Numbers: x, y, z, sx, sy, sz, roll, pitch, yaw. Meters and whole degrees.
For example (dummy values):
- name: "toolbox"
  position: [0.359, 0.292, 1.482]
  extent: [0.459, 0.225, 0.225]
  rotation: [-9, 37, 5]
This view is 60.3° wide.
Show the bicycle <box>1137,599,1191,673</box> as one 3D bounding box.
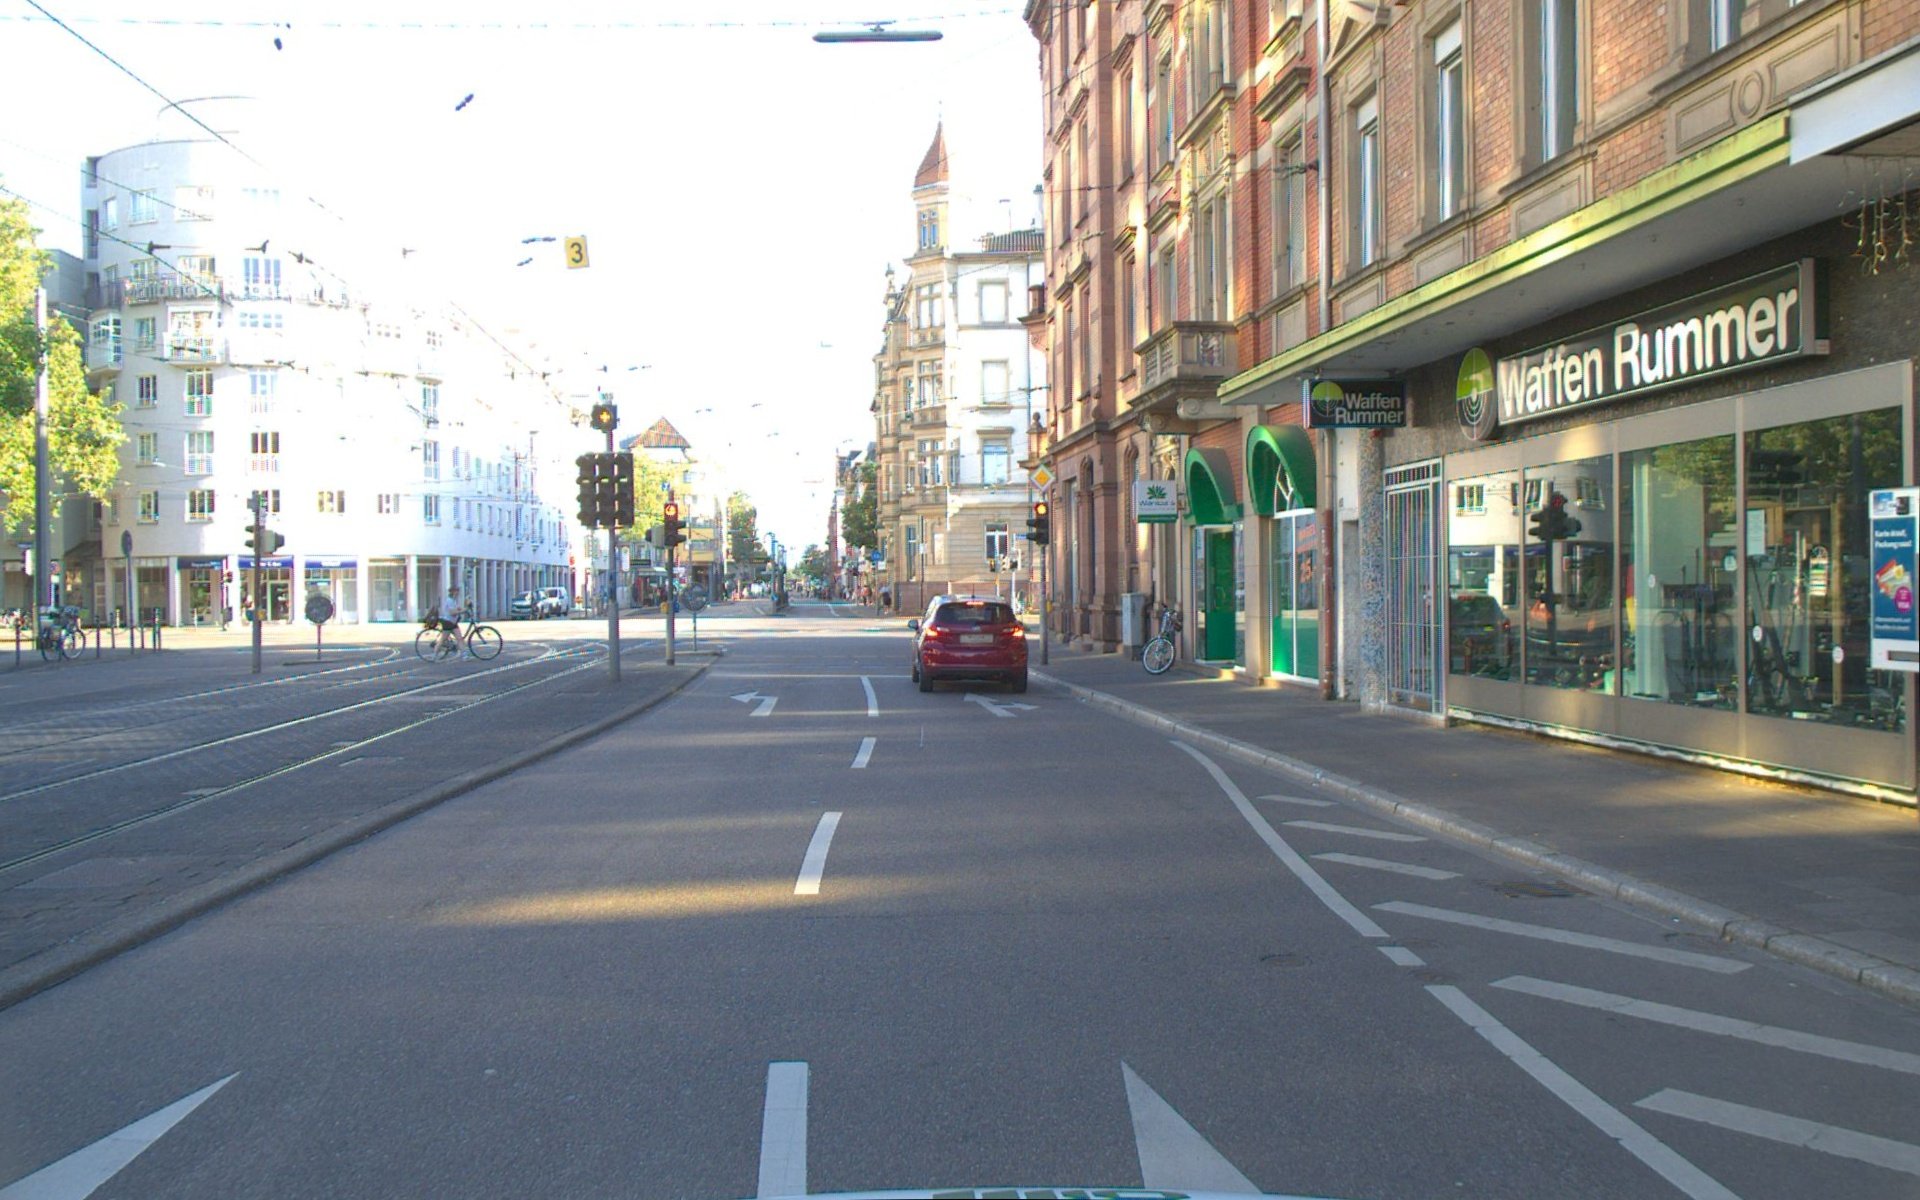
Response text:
- name: "bicycle"
  position: [3.472, 0.596, 28.083]
  extent: [0.700, 1.172, 1.656]
  rotation: [-2, 1, 13]

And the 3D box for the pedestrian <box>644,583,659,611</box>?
- name: "pedestrian"
  position: [-23.137, -0.232, 124.218]
  extent: [1.025, 2.049, 0.957]
  rotation: [-1, 0, -8]

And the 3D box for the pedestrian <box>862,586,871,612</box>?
- name: "pedestrian"
  position: [-7.319, -0.069, 129.050]
  extent: [0.633, 2.049, 0.682]
  rotation: [-1, 0, -5]

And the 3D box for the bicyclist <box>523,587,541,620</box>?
- name: "bicyclist"
  position: [-23.237, 0.175, 89.785]
  extent: [0.792, 1.756, 0.793]
  rotation: [-1, 0, -5]

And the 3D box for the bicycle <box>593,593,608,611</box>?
- name: "bicycle"
  position: [-24.827, 0.130, 114.212]
  extent: [0.792, 1.167, 2.008]
  rotation: [-1, 0, -5]

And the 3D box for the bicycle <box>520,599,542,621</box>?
- name: "bicycle"
  position: [-23.213, 0.536, 89.573]
  extent: [0.792, 1.167, 2.047]
  rotation: [-1, 0, -5]

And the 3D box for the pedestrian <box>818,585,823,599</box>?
- name: "pedestrian"
  position: [-18.874, -1.058, 223.846]
  extent: [0.566, 1.920, 0.669]
  rotation: [-1, 0, -5]

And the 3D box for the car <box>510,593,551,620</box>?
- name: "car"
  position: [-25.734, 0.379, 99.224]
  extent: [1.731, 1.573, 3.458]
  rotation: [-1, 0, -4]

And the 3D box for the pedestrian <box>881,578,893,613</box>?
- name: "pedestrian"
  position: [-4.258, -0.276, 96.590]
  extent: [0.639, 2.049, 0.759]
  rotation: [-1, 0, -6]

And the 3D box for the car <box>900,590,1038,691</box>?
- name: "car"
  position: [0.072, 0.600, 26.540]
  extent: [1.721, 1.492, 3.939]
  rotation: [1, 0, -7]

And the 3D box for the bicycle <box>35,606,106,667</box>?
- name: "bicycle"
  position: [-20.637, 0.827, 38.414]
  extent: [0.657, 1.350, 1.905]
  rotation: [2, 0, -3]

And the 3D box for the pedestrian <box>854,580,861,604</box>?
- name: "pedestrian"
  position: [-8.828, -0.671, 142.394]
  extent: [0.565, 2.049, 0.631]
  rotation: [-1, 0, 1]

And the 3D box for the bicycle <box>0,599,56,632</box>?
- name: "bicycle"
  position: [-46.840, 0.773, 80.902]
  extent: [4.609, 1.556, 1.066]
  rotation: [-1, 0, -2]

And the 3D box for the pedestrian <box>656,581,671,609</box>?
- name: "pedestrian"
  position: [-21.921, -0.381, 122.345]
  extent: [1.025, 2.049, 0.957]
  rotation: [-1, 0, -8]

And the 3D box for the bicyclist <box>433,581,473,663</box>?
- name: "bicyclist"
  position: [-10.419, 0.454, 34.017]
  extent: [0.717, 1.655, 0.763]
  rotation: [0, 0, -14]

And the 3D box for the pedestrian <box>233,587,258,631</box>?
- name: "pedestrian"
  position: [-33.558, 0.420, 77.705]
  extent: [0.935, 2.049, 0.930]
  rotation: [-1, 0, -33]

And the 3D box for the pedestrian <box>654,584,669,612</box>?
- name: "pedestrian"
  position: [-22.679, -0.148, 125.699]
  extent: [1.025, 2.049, 0.957]
  rotation: [-1, 0, -8]

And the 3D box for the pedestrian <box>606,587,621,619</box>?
- name: "pedestrian"
  position: [-19.399, 0.156, 92.579]
  extent: [0.753, 1.761, 0.572]
  rotation: [-1, 0, -3]

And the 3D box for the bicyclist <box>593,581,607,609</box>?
- name: "bicyclist"
  position: [-24.832, -0.351, 114.073]
  extent: [0.792, 1.853, 0.992]
  rotation: [-1, 0, -5]

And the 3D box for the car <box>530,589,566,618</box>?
- name: "car"
  position: [-26.547, 0.208, 106.632]
  extent: [1.668, 1.748, 3.560]
  rotation: [-1, 0, -6]

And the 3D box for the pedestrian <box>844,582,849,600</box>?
- name: "pedestrian"
  position: [-12.686, -1.001, 184.676]
  extent: [0.566, 2.049, 0.630]
  rotation: [-1, 0, -5]

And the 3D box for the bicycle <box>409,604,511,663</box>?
- name: "bicycle"
  position: [-10.396, 0.689, 34.423]
  extent: [1.984, 1.198, 0.626]
  rotation: [-1, 0, -14]

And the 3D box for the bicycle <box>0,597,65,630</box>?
- name: "bicycle"
  position: [-47.079, 0.697, 82.090]
  extent: [4.609, 1.556, 1.066]
  rotation: [-1, 0, -2]

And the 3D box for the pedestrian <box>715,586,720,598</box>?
- name: "pedestrian"
  position: [-31.653, -1.033, 215.852]
  extent: [0.620, 1.632, 0.575]
  rotation: [-1, 0, -22]

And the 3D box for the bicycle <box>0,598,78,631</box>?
- name: "bicycle"
  position: [-47.227, 0.746, 83.585]
  extent: [4.609, 1.556, 1.066]
  rotation: [-1, 0, -2]

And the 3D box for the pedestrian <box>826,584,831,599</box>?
- name: "pedestrian"
  position: [-17.482, -1.104, 219.586]
  extent: [0.566, 1.920, 0.630]
  rotation: [-1, 0, -5]
